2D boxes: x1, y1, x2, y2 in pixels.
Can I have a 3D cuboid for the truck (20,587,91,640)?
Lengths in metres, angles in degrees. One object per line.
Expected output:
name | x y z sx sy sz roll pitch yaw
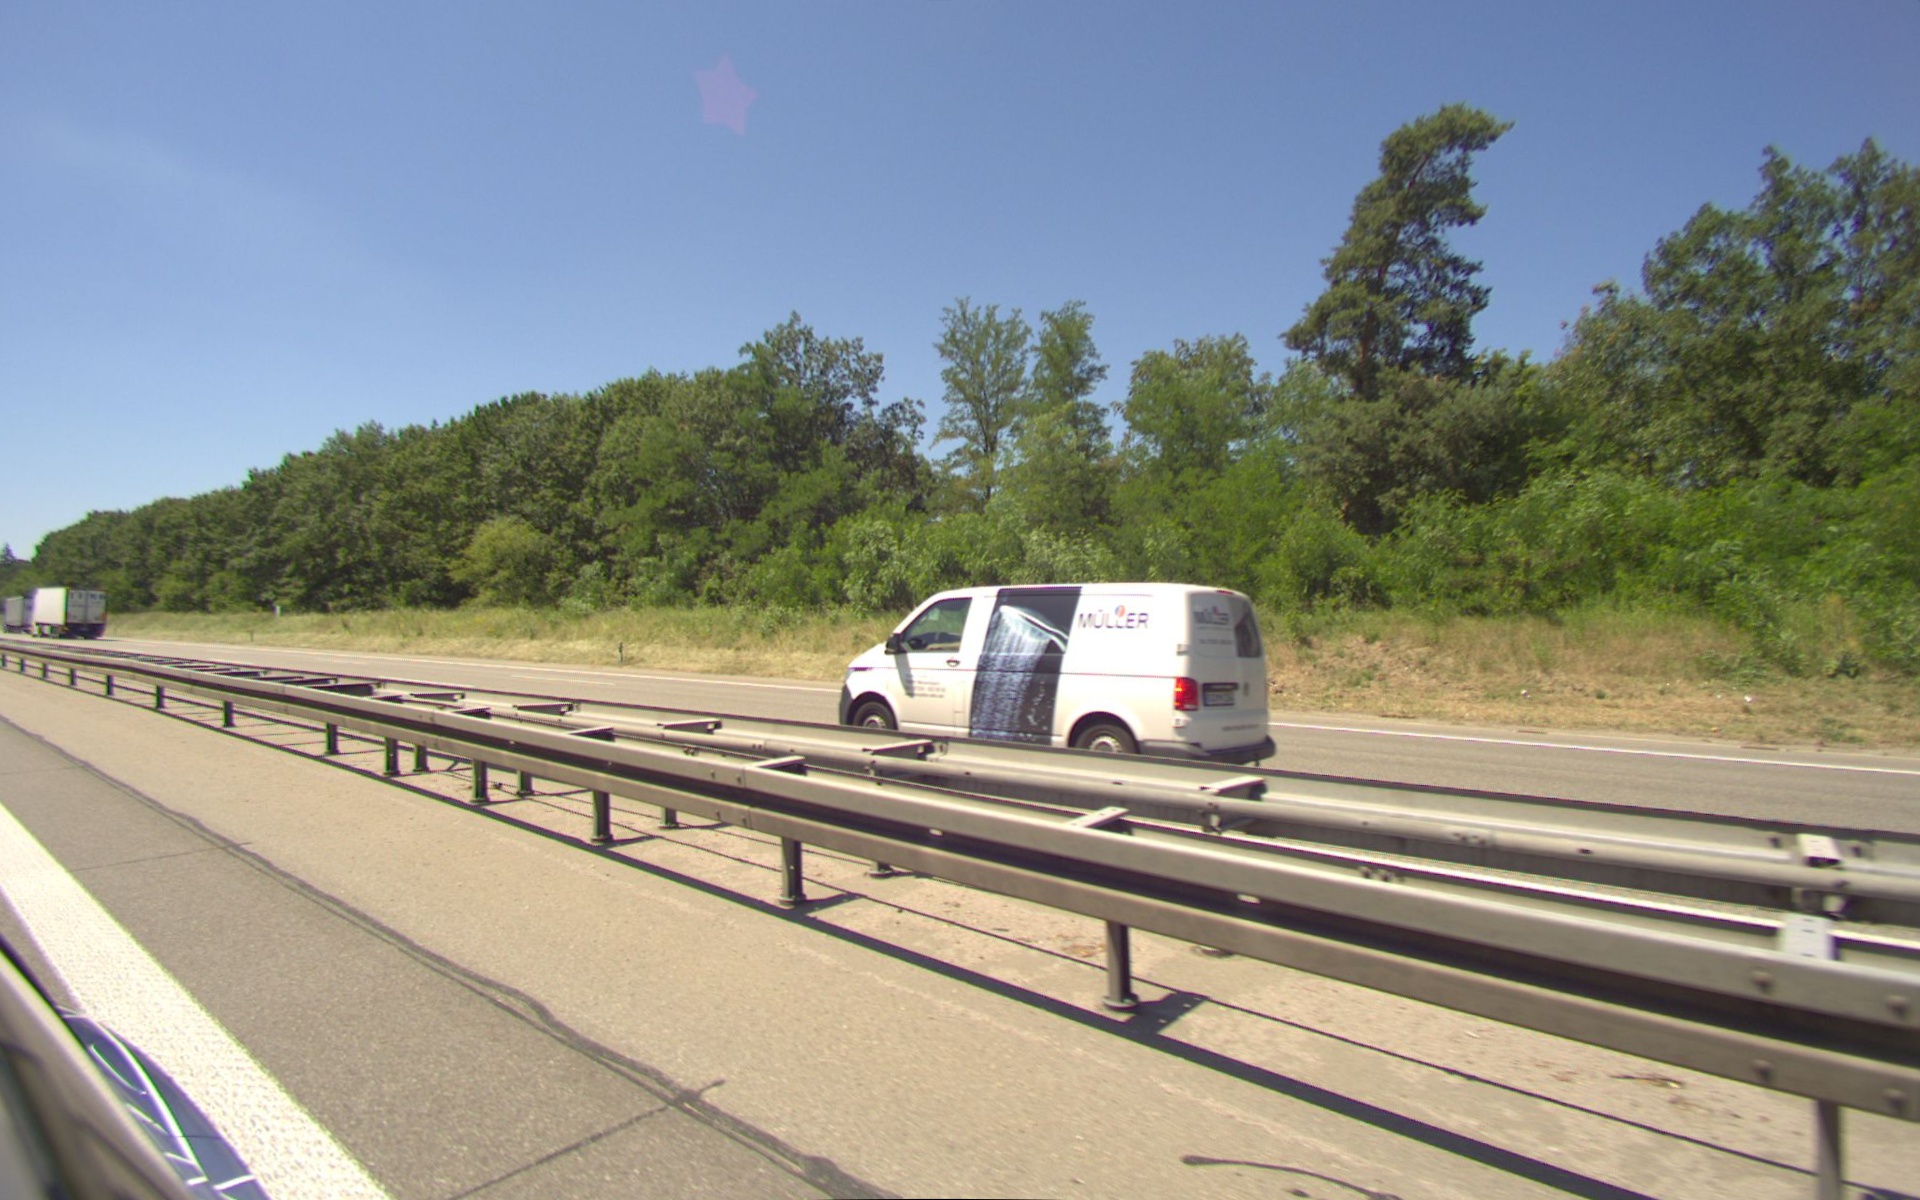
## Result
truck | -78.581 1.218 87.899 7.054 4.354 3.494 -1 -4 41

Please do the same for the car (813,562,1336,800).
car | 0.926 0.703 10.395 5.234 1.869 1.812 -1 -3 41

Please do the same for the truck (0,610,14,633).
truck | -119.204 2.665 125.507 6.104 2.789 2.135 -1 0 41

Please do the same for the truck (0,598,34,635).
truck | -111.817 1.988 119.341 6.036 4.216 2.902 -1 -4 41

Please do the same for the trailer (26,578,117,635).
trailer | -73.214 0.639 83.247 13.597 4.216 3.494 -1 -4 41

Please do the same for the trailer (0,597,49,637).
trailer | -106.747 1.911 114.968 13.846 4.216 2.902 -1 -4 41
